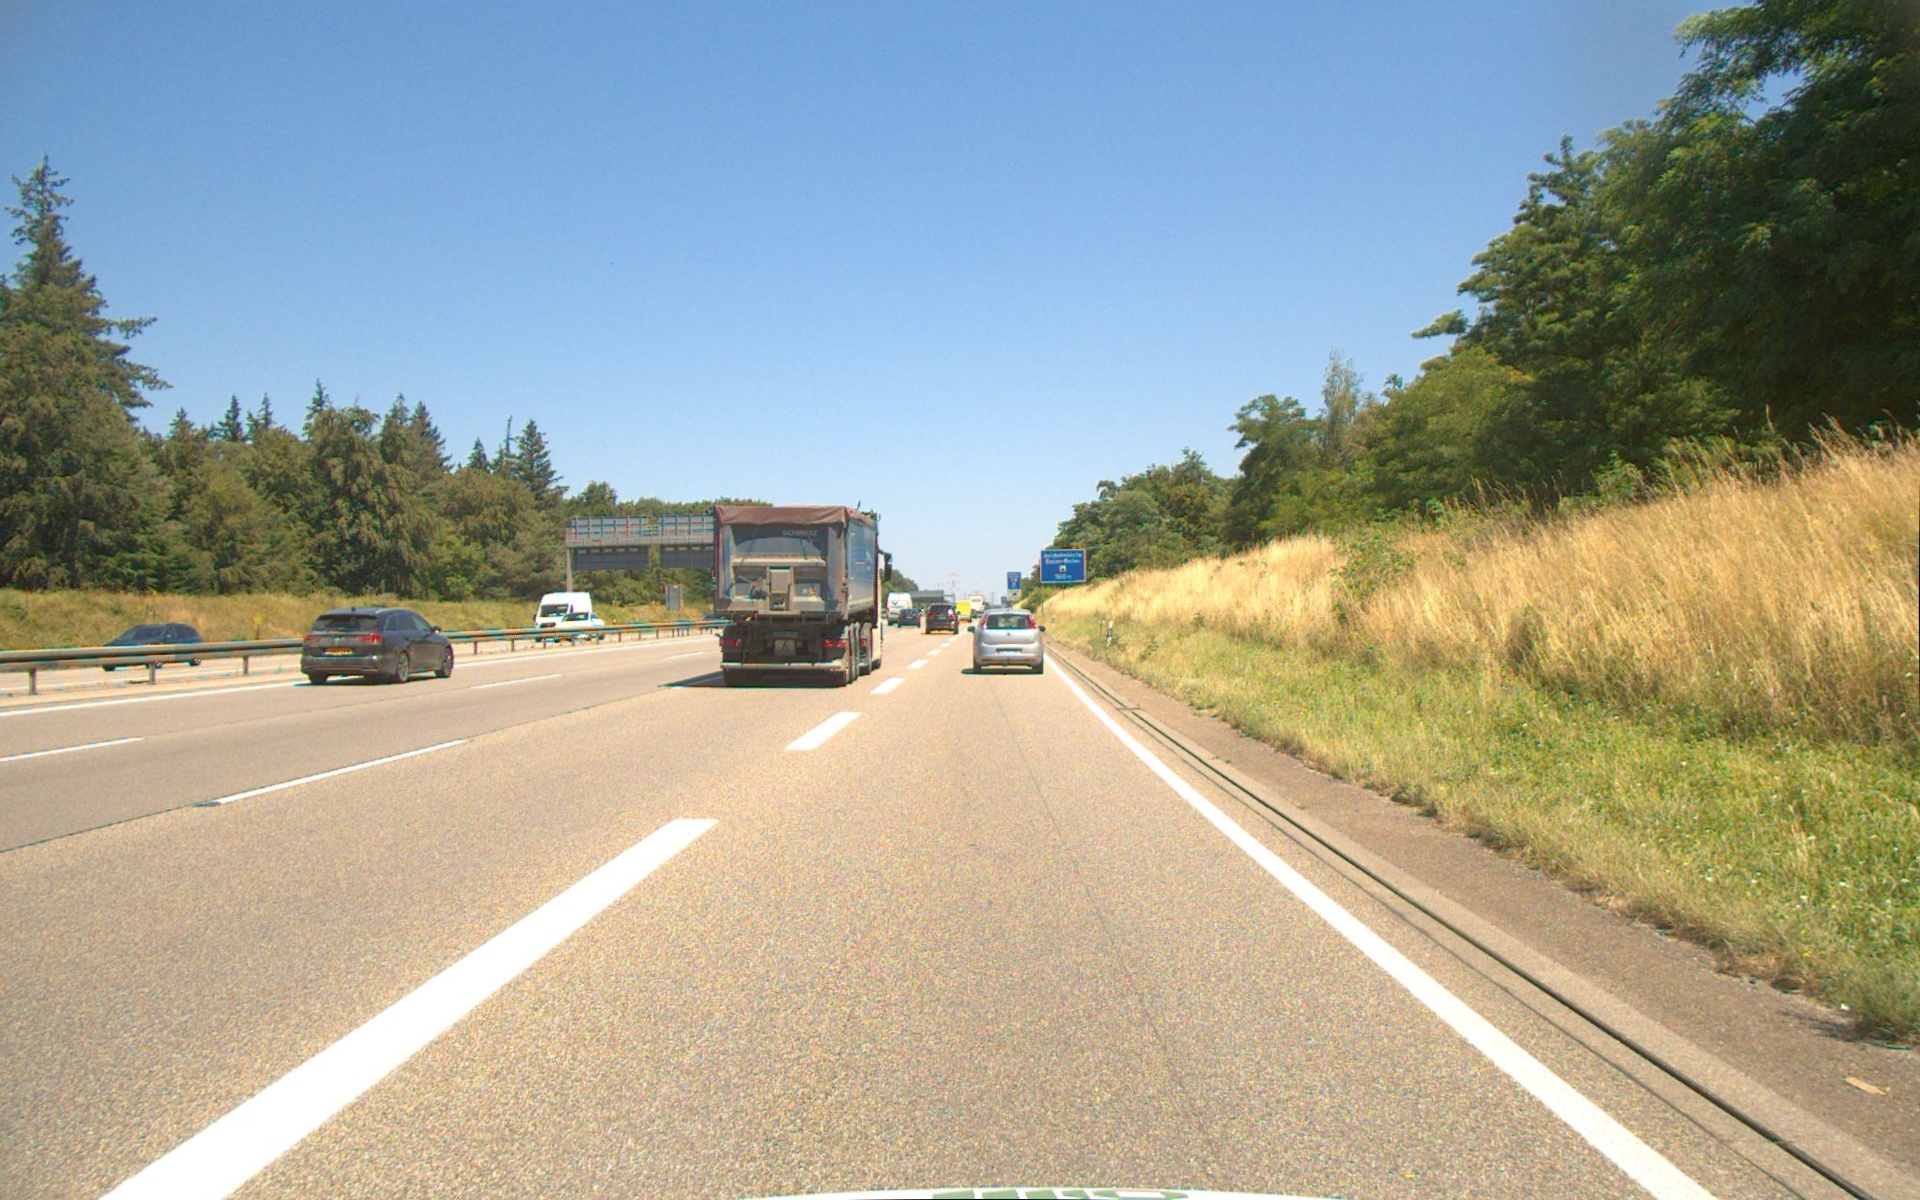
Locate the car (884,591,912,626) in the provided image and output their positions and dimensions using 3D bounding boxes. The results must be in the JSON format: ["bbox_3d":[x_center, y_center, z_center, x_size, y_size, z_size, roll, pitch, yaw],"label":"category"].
[{"bbox_3d":[-5.360,0.725,143.937,2.213,3.002,6.113,0,0,0],"label":"car"}]

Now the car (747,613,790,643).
[{"bbox_3d":[-10.462,1.519,90.623,1.668,1.500,4.597,-1,0,1],"label":"car"}]

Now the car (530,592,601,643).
[{"bbox_3d":[-22.935,0.969,96.466,2.295,2.758,6.874,-3,0,1],"label":"car"}]

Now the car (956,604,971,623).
[{"bbox_3d":[0.404,1.430,179.384,1.578,2.049,4.000,0,0,0],"label":"car"}]

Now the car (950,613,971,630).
[{"bbox_3d":[0.032,1.888,147.294,1.783,1.518,3.737,0,-1,1],"label":"car"}]

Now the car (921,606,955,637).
[{"bbox_3d":[-1.252,1.232,95.677,1.794,1.701,4.001,1,-1,2],"label":"car"}]

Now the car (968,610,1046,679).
[{"bbox_3d":[1.077,1.016,39.289,1.684,1.517,3.736,0,0,-1],"label":"car"}]

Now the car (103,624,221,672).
[{"bbox_3d":[-27.231,1.609,56.595,1.656,1.416,4.676,-3,0,1],"label":"car"}]

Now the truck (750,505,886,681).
[{"bbox_3d":[-3.238,-0.171,39.127,2.629,3.824,5.944,-1,0,0],"label":"truck"}]

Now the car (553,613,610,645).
[{"bbox_3d":[-19.210,1.455,84.115,1.656,1.416,4.676,-3,0,1],"label":"car"}]

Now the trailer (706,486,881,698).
[{"bbox_3d":[-3.252,-0.165,34.687,2.681,3.824,9.109,-1,0,0],"label":"trailer"}]

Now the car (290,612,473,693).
[{"bbox_3d":[-11.404,0.987,33.011,1.794,1.457,5.000,0,0,1],"label":"car"}]

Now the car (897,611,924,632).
[{"bbox_3d":[-3.763,1.644,126.751,1.855,1.495,4.262,0,0,2],"label":"car"}]
